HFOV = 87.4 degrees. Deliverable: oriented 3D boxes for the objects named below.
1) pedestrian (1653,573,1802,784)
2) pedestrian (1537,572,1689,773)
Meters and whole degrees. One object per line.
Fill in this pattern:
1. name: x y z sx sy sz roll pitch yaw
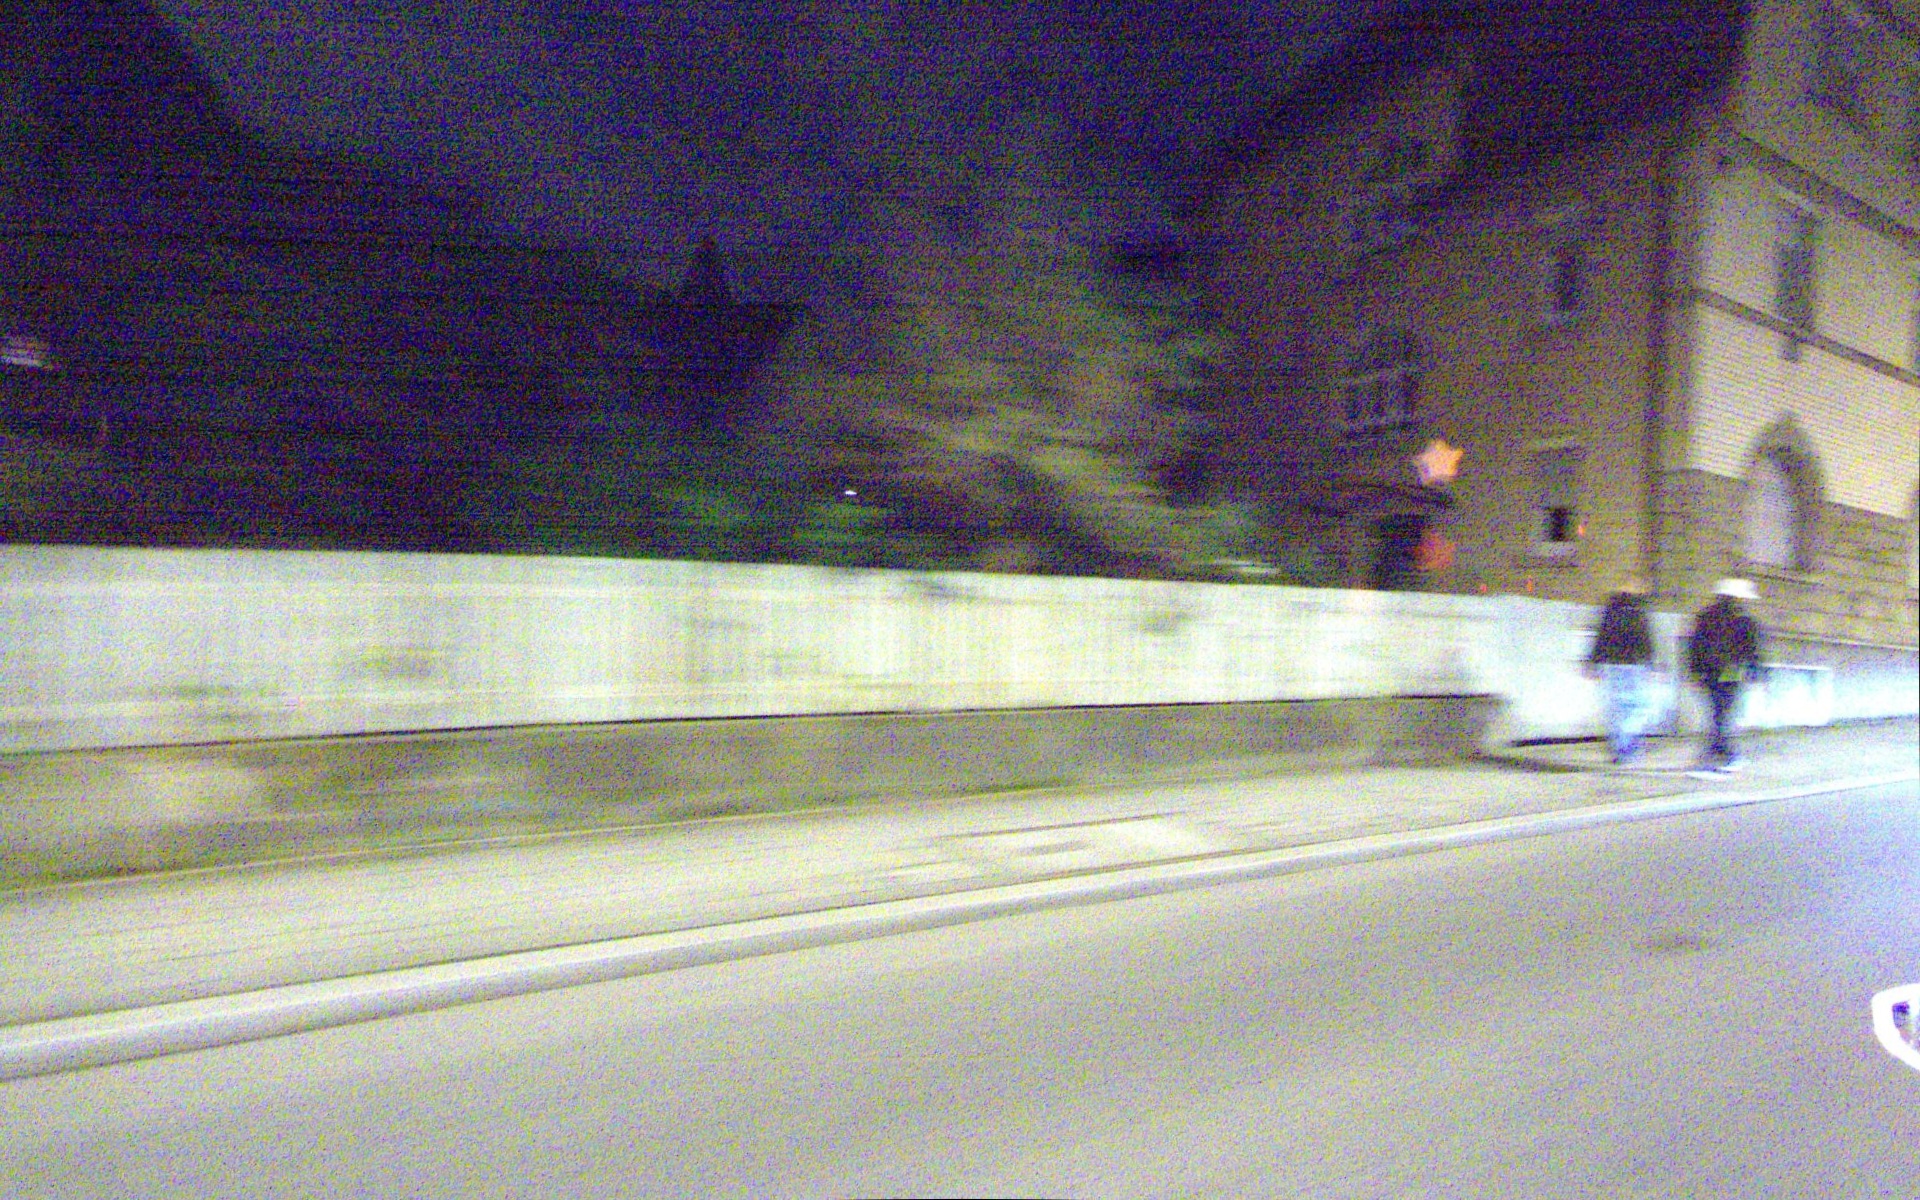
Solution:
1. pedestrian: 6.823 0.666 8.932 1.016 1.768 0.672 2 0 -29
2. pedestrian: 6.100 0.648 9.394 1.090 1.768 0.739 2 0 -29
